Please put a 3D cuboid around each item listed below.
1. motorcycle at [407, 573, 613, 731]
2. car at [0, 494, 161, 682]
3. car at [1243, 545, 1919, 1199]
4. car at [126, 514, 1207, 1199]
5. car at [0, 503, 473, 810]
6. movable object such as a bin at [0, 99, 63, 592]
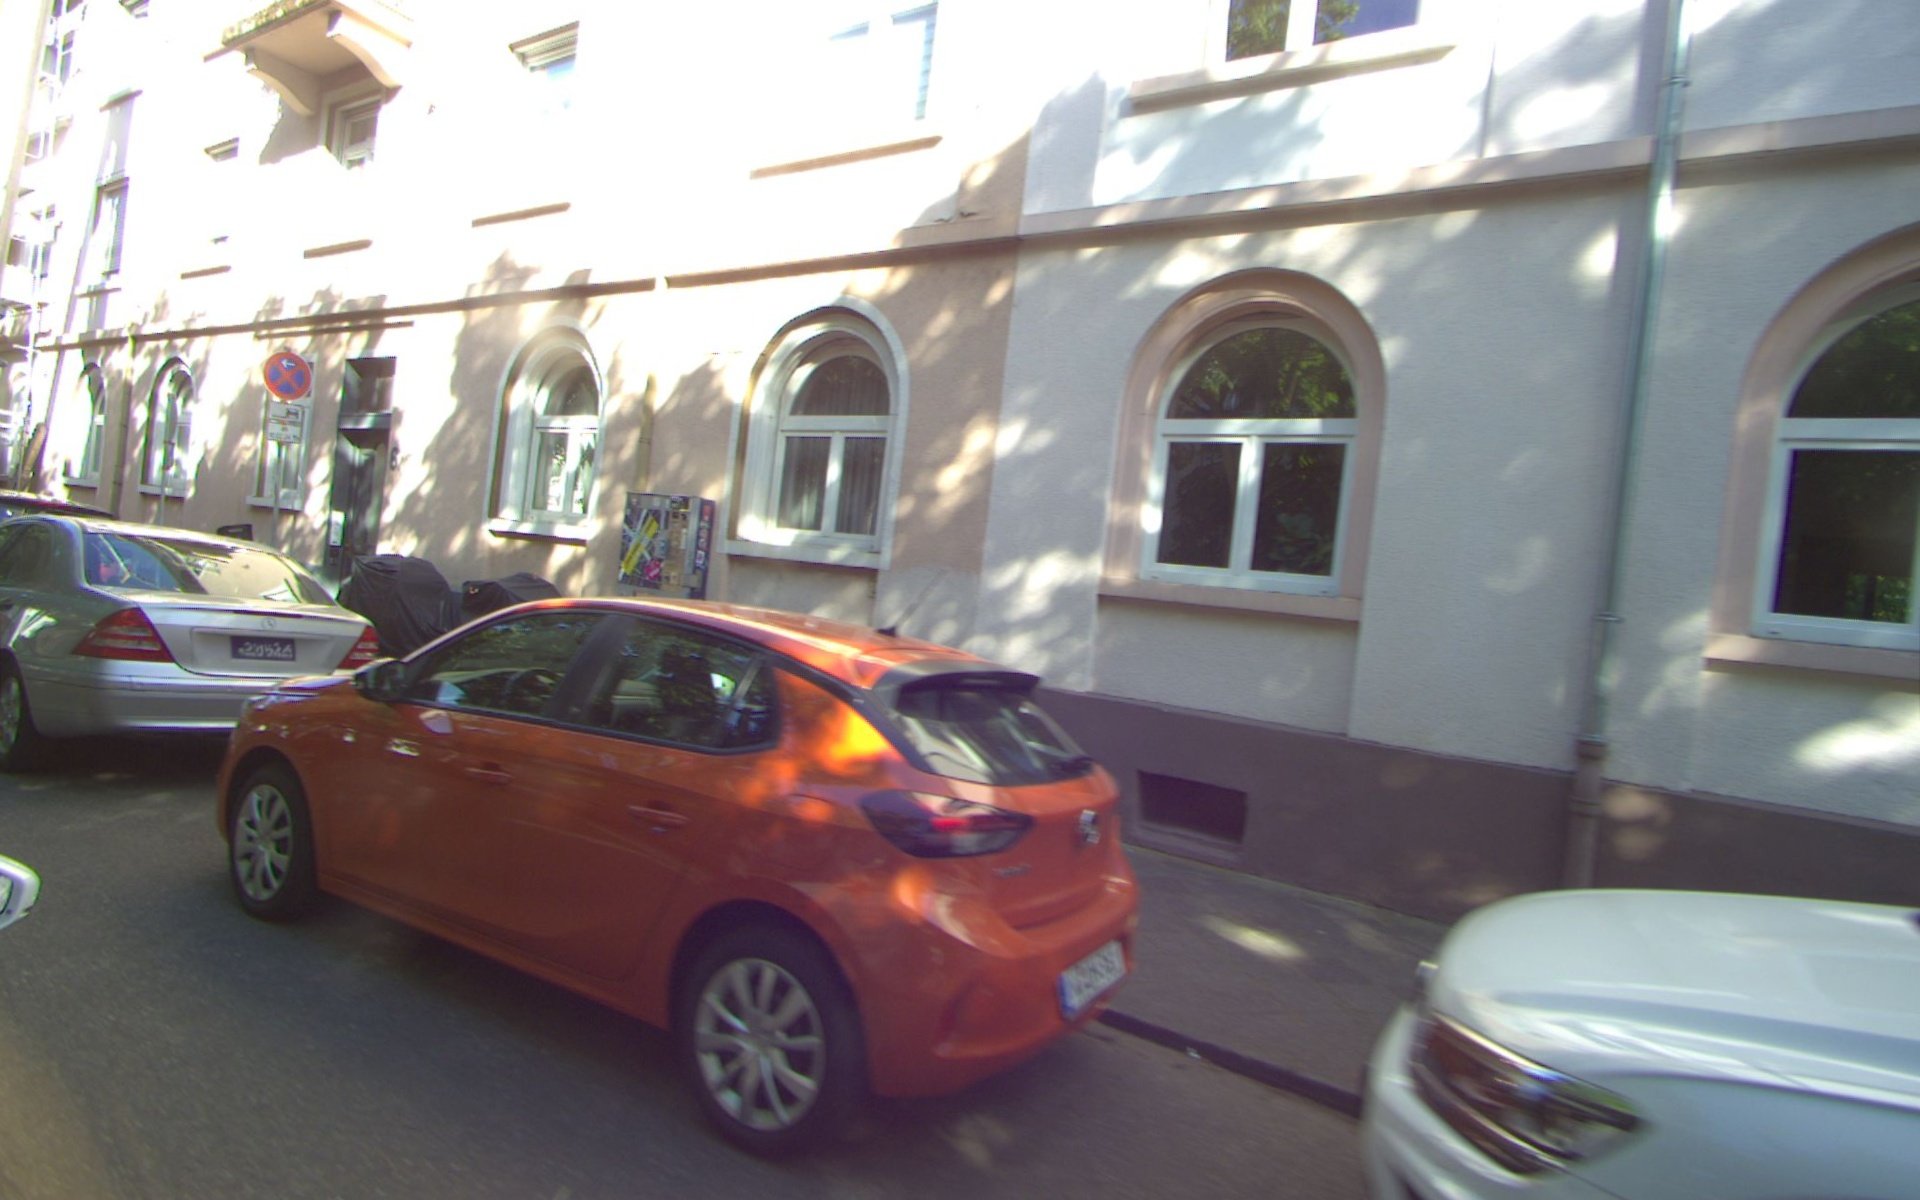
[{"bbox_3d":[-4.212,0.464,9.399,1.803,1.208,0.549,7,1,21],"label":"motorcycle"},{"bbox_3d":[-9.068,-0.216,9.374,2.734,1.549,1.594,7,-1,32],"label":"car"},{"bbox_3d":[2.926,1.046,1.277,4.597,1.694,1.819,7,-1,33],"label":"car"},{"bbox_3d":[-1.250,0.679,4.031,3.895,1.542,1.794,7,-1,28],"label":"car"},{"bbox_3d":[-5.651,0.182,6.896,4.426,1.426,1.997,7,-1,32],"label":"car"},{"bbox_3d":[-15.514,-3.721,13.935,3.447,6.840,2.354,7,0,-25],"label":"movable object such as a bin"}]
